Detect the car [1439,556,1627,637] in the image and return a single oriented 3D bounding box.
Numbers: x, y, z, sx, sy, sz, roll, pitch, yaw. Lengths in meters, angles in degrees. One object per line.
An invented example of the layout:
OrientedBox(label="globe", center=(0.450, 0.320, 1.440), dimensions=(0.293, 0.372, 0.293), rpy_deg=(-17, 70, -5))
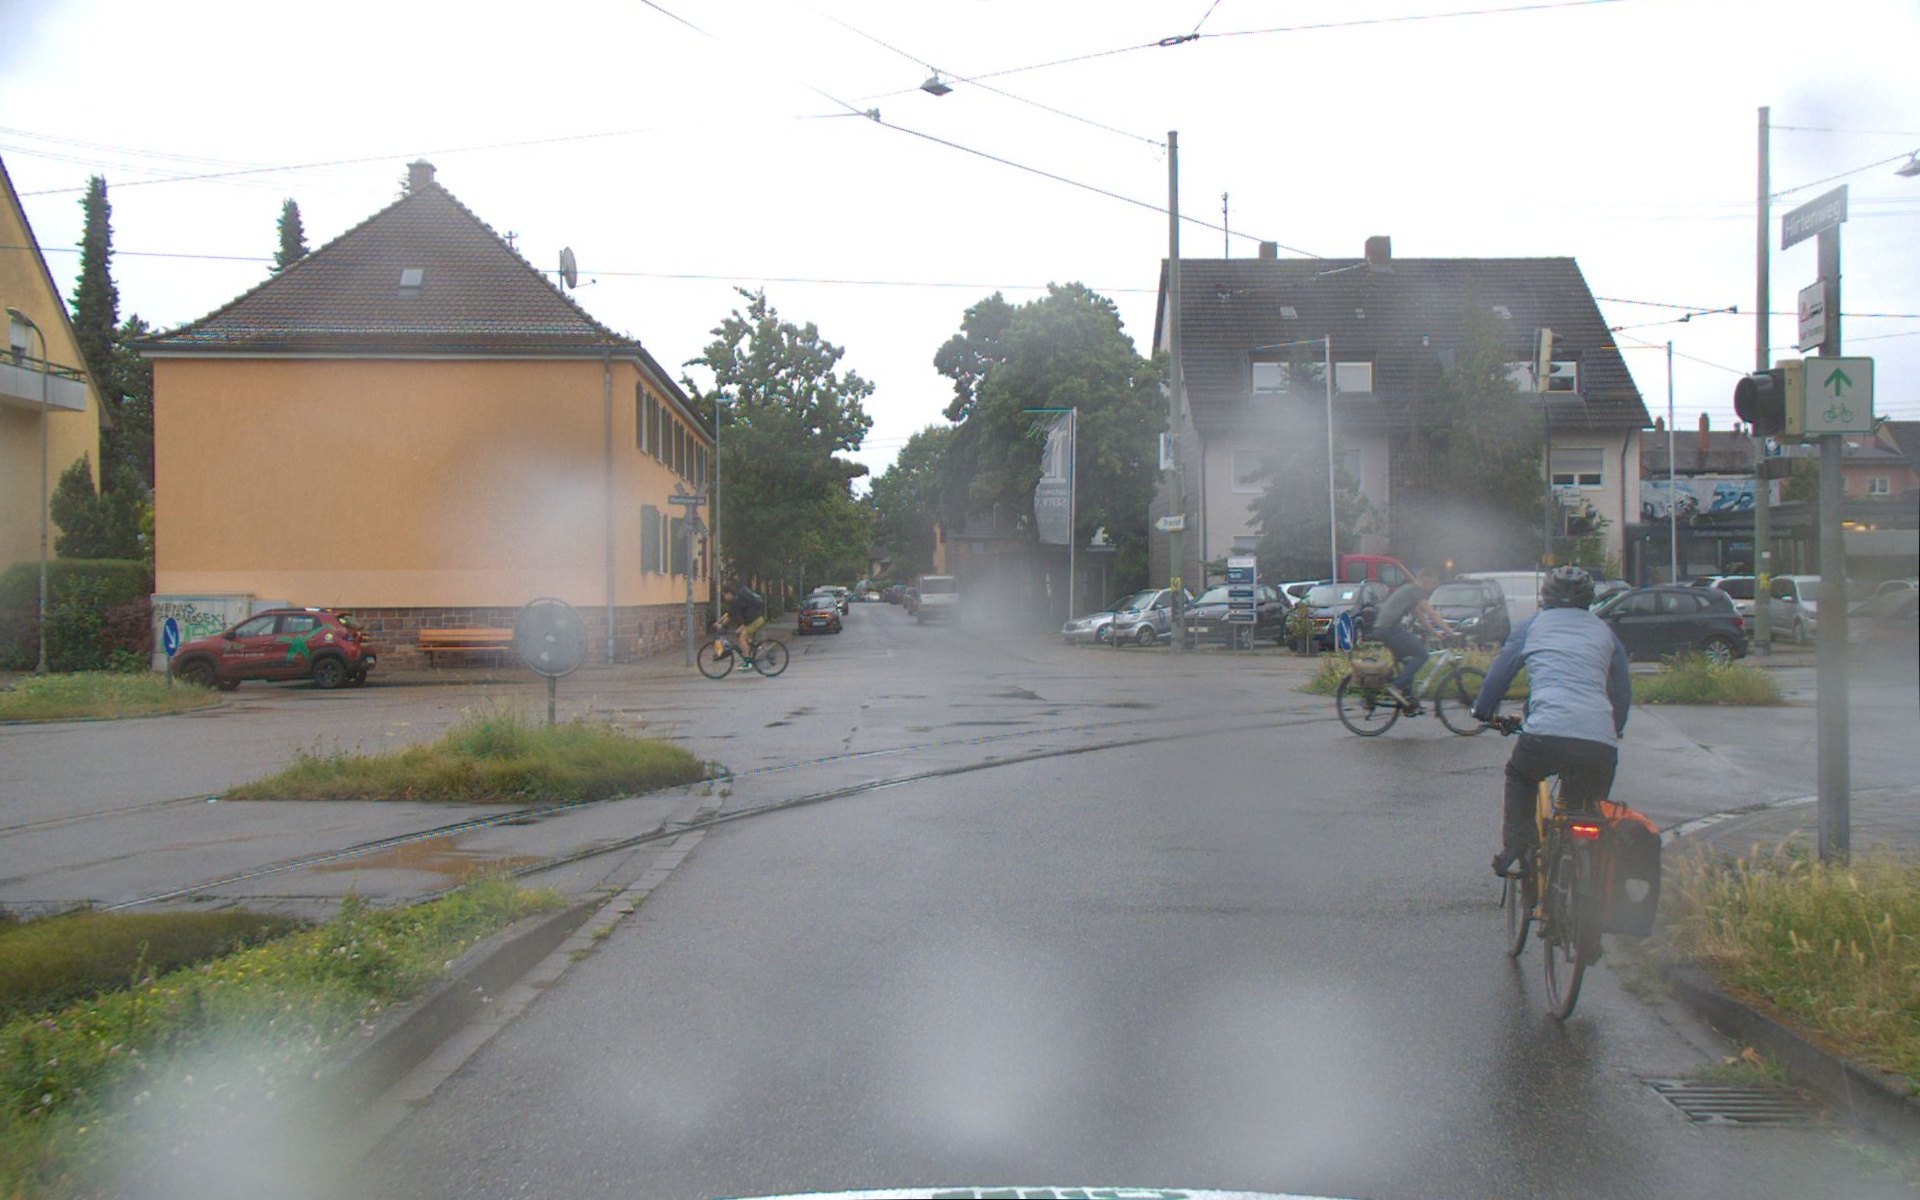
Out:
OrientedBox(label="car", center=(15.350, -0.083, 44.472), dimensions=(4.341, 2.049, 2.000), rpy_deg=(-1, -1, 1))

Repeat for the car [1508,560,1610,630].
OrientedBox(label="car", center=(14.147, -0.097, 38.951), dimensions=(1.792, 1.530, 4.054), rpy_deg=(1, 0, 27))

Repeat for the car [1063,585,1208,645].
OrientedBox(label="car", center=(5.121, 0.427, 48.267), dimensions=(3.804, 1.606, 1.796), rpy_deg=(-1, 0, -22))

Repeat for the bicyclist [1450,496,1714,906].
OrientedBox(label="bicyclist", center=(2.445, 0.378, 6.598), dimensions=(0.735, 1.511, 0.847), rpy_deg=(-2, 0, 4))

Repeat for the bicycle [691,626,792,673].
OrientedBox(label="bicycle", center=(-4.074, 0.924, 30.947), dimensions=(1.778, 0.800, 0.942), rpy_deg=(-2, 0, -3))

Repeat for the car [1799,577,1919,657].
OrientedBox(label="car", center=(19.118, 0.348, 33.312), dimensions=(3.558, 1.530, 1.723), rpy_deg=(1, 0, -1))

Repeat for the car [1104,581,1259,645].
OrientedBox(label="car", center=(6.059, 0.336, 45.244), dimensions=(3.804, 1.606, 1.796), rpy_deg=(-1, 0, -22))

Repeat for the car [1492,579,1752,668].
OrientedBox(label="car", center=(11.962, 0.402, 30.045), dimensions=(3.907, 1.502, 1.999), rpy_deg=(-1, 0, -3))

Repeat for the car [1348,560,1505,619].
OrientedBox(label="car", center=(14.473, -0.314, 51.494), dimensions=(4.341, 1.717, 2.000), rpy_deg=(-1, -1, 1))

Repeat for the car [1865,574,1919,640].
OrientedBox(label="car", center=(23.969, 0.186, 40.516), dimensions=(1.681, 1.600, 3.618), rpy_deg=(1, 0, 2))

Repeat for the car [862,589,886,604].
OrientedBox(label="car", center=(-10.294, -0.395, 197.425), dimensions=(1.800, 1.727, 4.011), rpy_deg=(1, 0, -18))

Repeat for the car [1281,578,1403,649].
OrientedBox(label="car", center=(9.334, 0.301, 40.233), dimensions=(1.768, 1.606, 3.864), rpy_deg=(-1, 0, 31))

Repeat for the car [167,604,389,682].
OrientedBox(label="car", center=(-13.076, 0.816, 31.876), dimensions=(3.534, 1.362, 1.721), rpy_deg=(1, 0, -4))

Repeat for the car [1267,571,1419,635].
OrientedBox(label="car", center=(10.531, 0.099, 45.434), dimensions=(3.883, 1.626, 2.001), rpy_deg=(-1, -1, 19))

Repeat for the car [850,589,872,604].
OrientedBox(label="car", center=(-12.175, -0.460, 202.800), dimensions=(1.800, 1.727, 4.011), rpy_deg=(1, 0, -18))

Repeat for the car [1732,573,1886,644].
OrientedBox(label="car", center=(20.728, 0.185, 40.559), dimensions=(1.765, 1.606, 3.872), rpy_deg=(-1, 0, 0))

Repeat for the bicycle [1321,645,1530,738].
OrientedBox(label="bicycle", center=(4.821, 0.940, 17.220), dimensions=(1.940, 0.928, 0.823), rpy_deg=(0, -1, -4))

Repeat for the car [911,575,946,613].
OrientedBox(label="car", center=(-1.817, -0.342, 95.189), dimensions=(1.953, 2.049, 3.999), rpy_deg=(1, 0, -2))

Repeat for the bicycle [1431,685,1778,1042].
OrientedBox(label="bicycle", center=(2.466, 0.948, 6.595), dimensions=(0.737, 1.091, 1.928), rpy_deg=(-2, 0, 5))

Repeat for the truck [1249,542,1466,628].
OrientedBox(label="truck", center=(11.569, -0.398, 48.122), dimensions=(5.955, 2.312, 2.001), rpy_deg=(-1, -1, 18))

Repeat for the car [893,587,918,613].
OrientedBox(label="car", center=(-4.382, -0.021, 132.044), dimensions=(1.792, 2.049, 3.997), rpy_deg=(1, 0, -4))

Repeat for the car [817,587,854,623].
OrientedBox(label="car", center=(-7.421, 0.285, 98.651), dimensions=(1.953, 2.049, 3.999), rpy_deg=(1, 0, -2))

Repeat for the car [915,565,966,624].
OrientedBox(label="car", center=(-0.937, -0.248, 77.089), dimensions=(2.110, 2.617, 4.130), rpy_deg=(1, 0, -4))

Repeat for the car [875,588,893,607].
OrientedBox(label="car", center=(-8.242, -0.280, 179.173), dimensions=(1.792, 2.049, 3.997), rpy_deg=(1, 0, -4))

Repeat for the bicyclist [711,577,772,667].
OrientedBox(label="bicyclist", center=(-4.081, 0.408, 30.943), dimensions=(1.018, 1.626, 0.949), rpy_deg=(-1, 0, -3))

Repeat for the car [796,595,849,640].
OrientedBox(label="car", center=(-5.343, 0.671, 64.574), dimensions=(1.954, 1.646, 3.997), rpy_deg=(-1, 0, -4))

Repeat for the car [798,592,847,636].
OrientedBox(label="car", center=(-5.732, 0.591, 69.331), dimensions=(1.954, 1.780, 3.997), rpy_deg=(-1, 0, -4))

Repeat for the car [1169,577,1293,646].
OrientedBox(label="car", center=(6.849, 0.266, 41.498), dimensions=(1.768, 1.606, 3.864), rpy_deg=(-1, 0, 31))

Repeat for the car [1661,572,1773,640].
OrientedBox(label="car", center=(18.158, 0.140, 39.848), dimensions=(1.789, 1.530, 4.061), rpy_deg=(1, 0, 15))

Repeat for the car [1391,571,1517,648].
OrientedBox(label="car", center=(11.879, 0.207, 39.594), dimensions=(1.957, 1.747, 3.992), rpy_deg=(-1, 0, 31))

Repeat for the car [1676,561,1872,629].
OrientedBox(label="car", center=(21.755, -0.134, 44.309), dimensions=(4.341, 1.717, 1.760), rpy_deg=(-1, -1, 1))

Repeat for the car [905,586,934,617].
OrientedBox(label="car", center=(-2.805, 0.078, 114.658), dimensions=(1.792, 2.049, 3.997), rpy_deg=(1, 0, -4))

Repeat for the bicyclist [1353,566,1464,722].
OrientedBox(label="bicyclist", center=(4.653, 0.452, 17.205), dimensions=(0.893, 1.585, 0.833), rpy_deg=(0, -1, -4))
